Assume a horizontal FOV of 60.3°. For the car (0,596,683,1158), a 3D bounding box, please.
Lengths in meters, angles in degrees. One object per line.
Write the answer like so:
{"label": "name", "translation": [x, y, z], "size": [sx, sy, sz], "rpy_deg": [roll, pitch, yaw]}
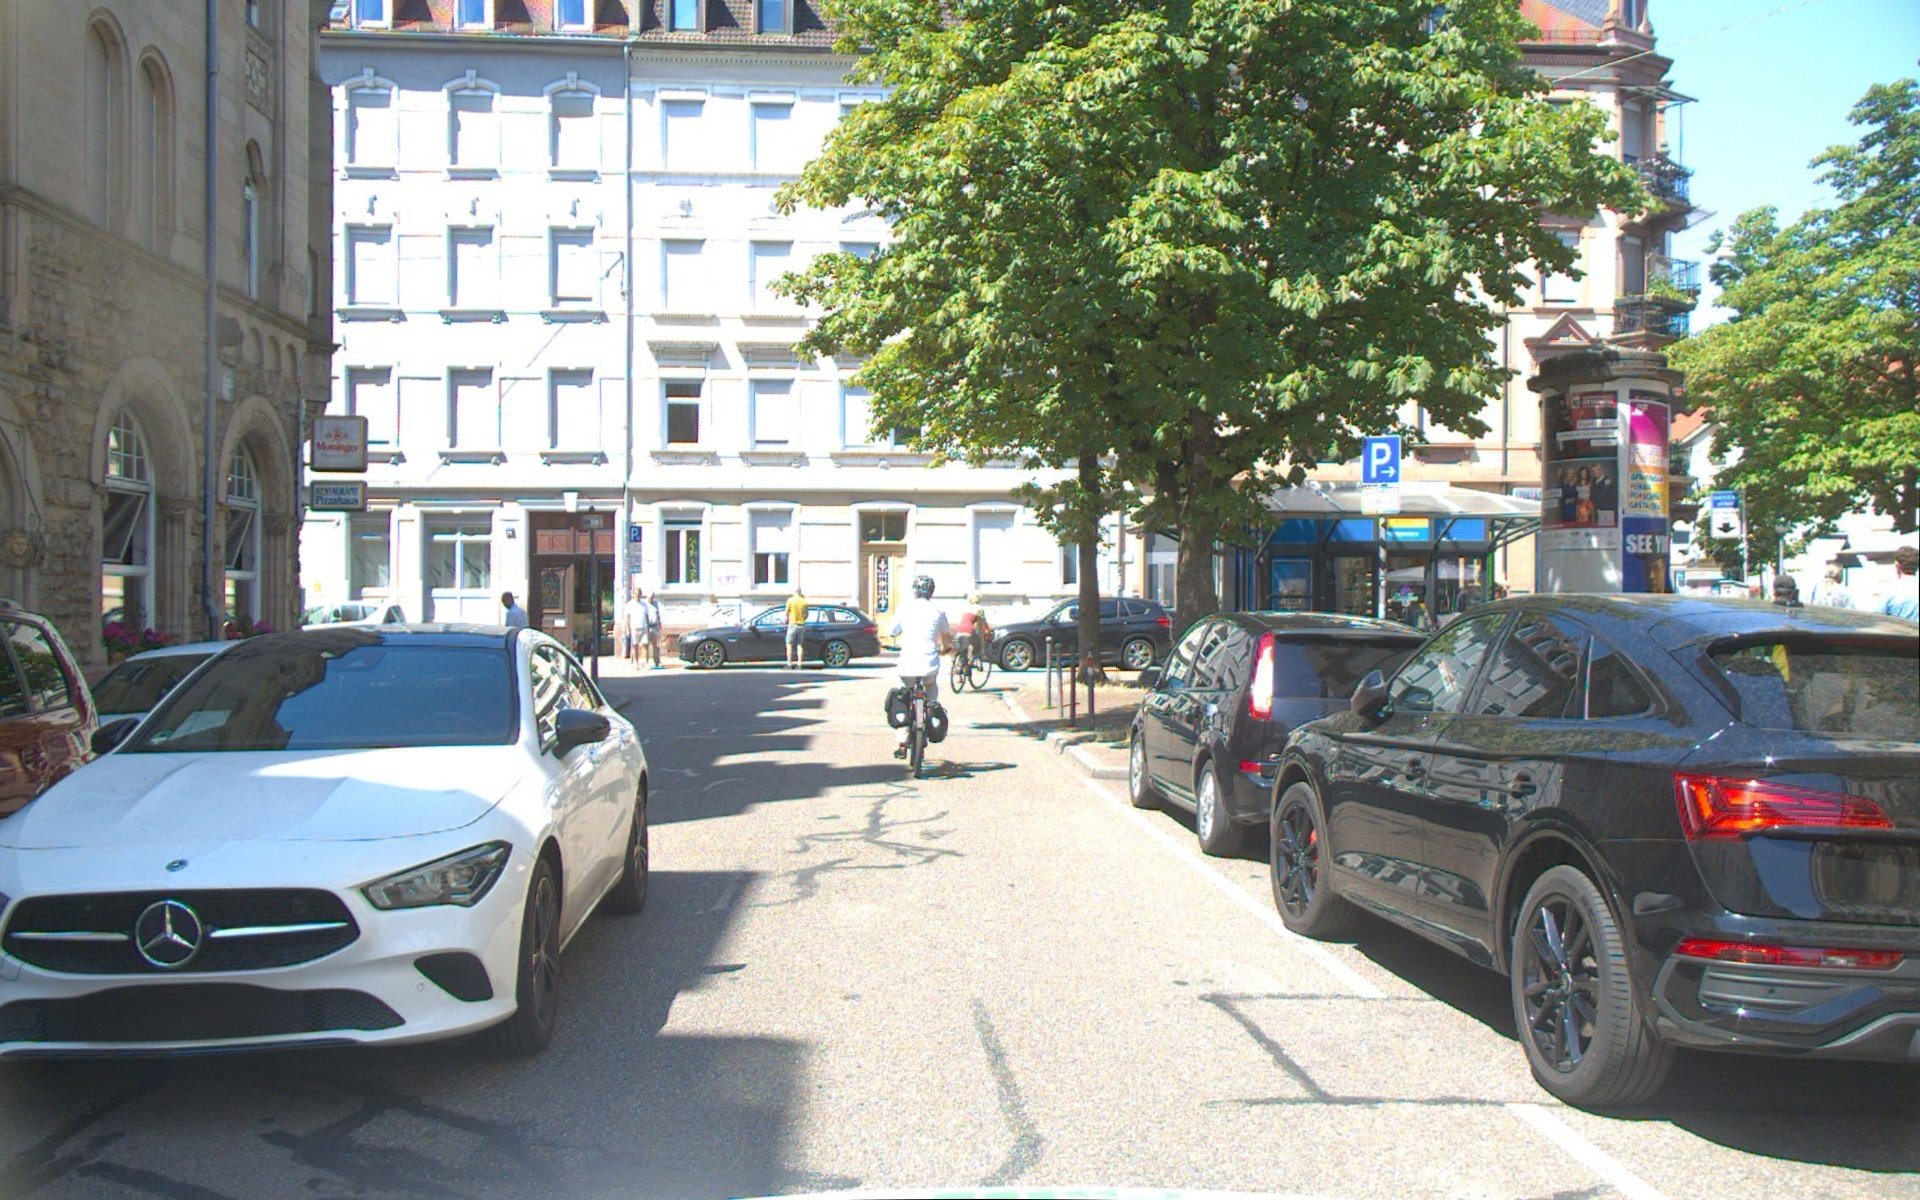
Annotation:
{"label": "car", "translation": [-2.307, 0.776, 6.757], "size": [1.805, 1.486, 4.359], "rpy_deg": [-2, 0, -3]}

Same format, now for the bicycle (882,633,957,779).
{"label": "bicycle", "translation": [-0.416, 0.967, 15.954], "size": [0.639, 1.250, 2.440], "rpy_deg": [1, 0, -3]}

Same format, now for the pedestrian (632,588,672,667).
{"label": "pedestrian", "translation": [-7.338, 0.658, 39.472], "size": [0.884, 1.846, 0.958], "rpy_deg": [-1, 0, -8]}

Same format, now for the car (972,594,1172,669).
{"label": "car", "translation": [2.400, 0.670, 36.025], "size": [4.139, 1.545, 1.806], "rpy_deg": [-1, 0, -4]}

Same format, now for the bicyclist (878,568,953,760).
{"label": "bicyclist", "translation": [-0.430, 0.602, 15.849], "size": [0.657, 1.791, 0.609], "rpy_deg": [2, -1, -2]}

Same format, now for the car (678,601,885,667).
{"label": "car", "translation": [-4.185, 0.783, 39.296], "size": [4.763, 1.462, 1.998], "rpy_deg": [-1, 0, -4]}

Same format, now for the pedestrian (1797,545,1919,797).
{"label": "pedestrian", "translation": [6.580, 0.506, 12.048], "size": [0.625, 1.782, 0.614], "rpy_deg": [-1, 0, 0]}

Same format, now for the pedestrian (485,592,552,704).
{"label": "pedestrian", "translation": [-6.808, 0.732, 25.558], "size": [0.840, 1.701, 0.773], "rpy_deg": [-1, 0, -3]}

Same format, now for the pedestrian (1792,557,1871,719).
{"label": "pedestrian", "translation": [10.069, 0.433, 19.110], "size": [0.743, 1.825, 0.574], "rpy_deg": [0, -1, -42]}

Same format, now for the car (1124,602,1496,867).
{"label": "car", "translation": [2.350, 0.829, 12.185], "size": [1.630, 1.567, 4.175], "rpy_deg": [2, 0, -3]}

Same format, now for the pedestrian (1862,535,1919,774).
{"label": "pedestrian", "translation": [7.712, 0.434, 13.438], "size": [0.507, 1.901, 0.654], "rpy_deg": [0, -1, 13]}

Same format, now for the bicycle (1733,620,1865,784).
{"label": "bicycle", "translation": [6.916, 0.783, 13.741], "size": [0.777, 1.189, 2.577], "rpy_deg": [-1, 0, 23]}

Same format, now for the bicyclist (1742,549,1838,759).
{"label": "bicyclist", "translation": [6.850, 0.435, 13.669], "size": [0.664, 1.676, 0.661], "rpy_deg": [-1, 0, 25]}

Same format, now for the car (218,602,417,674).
{"label": "car", "translation": [-15.004, 0.871, 38.776], "size": [3.967, 1.589, 1.805], "rpy_deg": [-1, 0, -5]}

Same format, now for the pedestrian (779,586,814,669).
{"label": "pedestrian", "translation": [-3.774, 0.628, 38.088], "size": [0.712, 1.886, 0.682], "rpy_deg": [-1, 0, -13]}

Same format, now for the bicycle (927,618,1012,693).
{"label": "bicycle", "translation": [0.193, 0.947, 28.784], "size": [0.638, 1.230, 2.441], "rpy_deg": [1, 0, 21]}

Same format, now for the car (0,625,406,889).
{"label": "car", "translation": [-5.270, 0.917, 11.495], "size": [1.668, 1.376, 4.510], "rpy_deg": [-2, 0, -6]}

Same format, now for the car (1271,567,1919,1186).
{"label": "car", "translation": [2.695, 0.755, 6.597], "size": [1.702, 1.624, 4.343], "rpy_deg": [2, 0, -5]}

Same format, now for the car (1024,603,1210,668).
{"label": "car", "translation": [3.730, 0.833, 39.649], "size": [4.209, 1.394, 1.806], "rpy_deg": [-1, 2, -4]}

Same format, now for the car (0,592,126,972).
{"label": "car", "translation": [-4.840, 0.800, 6.165], "size": [1.640, 1.610, 4.048], "rpy_deg": [-2, 0, -5]}

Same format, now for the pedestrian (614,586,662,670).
{"label": "pedestrian", "translation": [-7.484, 0.634, 38.436], "size": [0.832, 1.922, 0.936], "rpy_deg": [-1, 0, 7]}

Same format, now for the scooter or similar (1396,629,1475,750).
{"label": "scooter or similar", "translation": [4.812, 0.882, 16.715], "size": [0.434, 1.156, 1.182], "rpy_deg": [-1, 0, 33]}

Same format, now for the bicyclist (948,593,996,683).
{"label": "bicyclist", "translation": [0.205, 0.657, 28.799], "size": [0.656, 1.560, 0.609], "rpy_deg": [-1, 0, 20]}

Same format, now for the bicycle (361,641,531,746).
{"label": "bicycle", "translation": [-5.551, 1.008, 17.919], "size": [1.672, 1.063, 0.413], "rpy_deg": [2, -1, -8]}
